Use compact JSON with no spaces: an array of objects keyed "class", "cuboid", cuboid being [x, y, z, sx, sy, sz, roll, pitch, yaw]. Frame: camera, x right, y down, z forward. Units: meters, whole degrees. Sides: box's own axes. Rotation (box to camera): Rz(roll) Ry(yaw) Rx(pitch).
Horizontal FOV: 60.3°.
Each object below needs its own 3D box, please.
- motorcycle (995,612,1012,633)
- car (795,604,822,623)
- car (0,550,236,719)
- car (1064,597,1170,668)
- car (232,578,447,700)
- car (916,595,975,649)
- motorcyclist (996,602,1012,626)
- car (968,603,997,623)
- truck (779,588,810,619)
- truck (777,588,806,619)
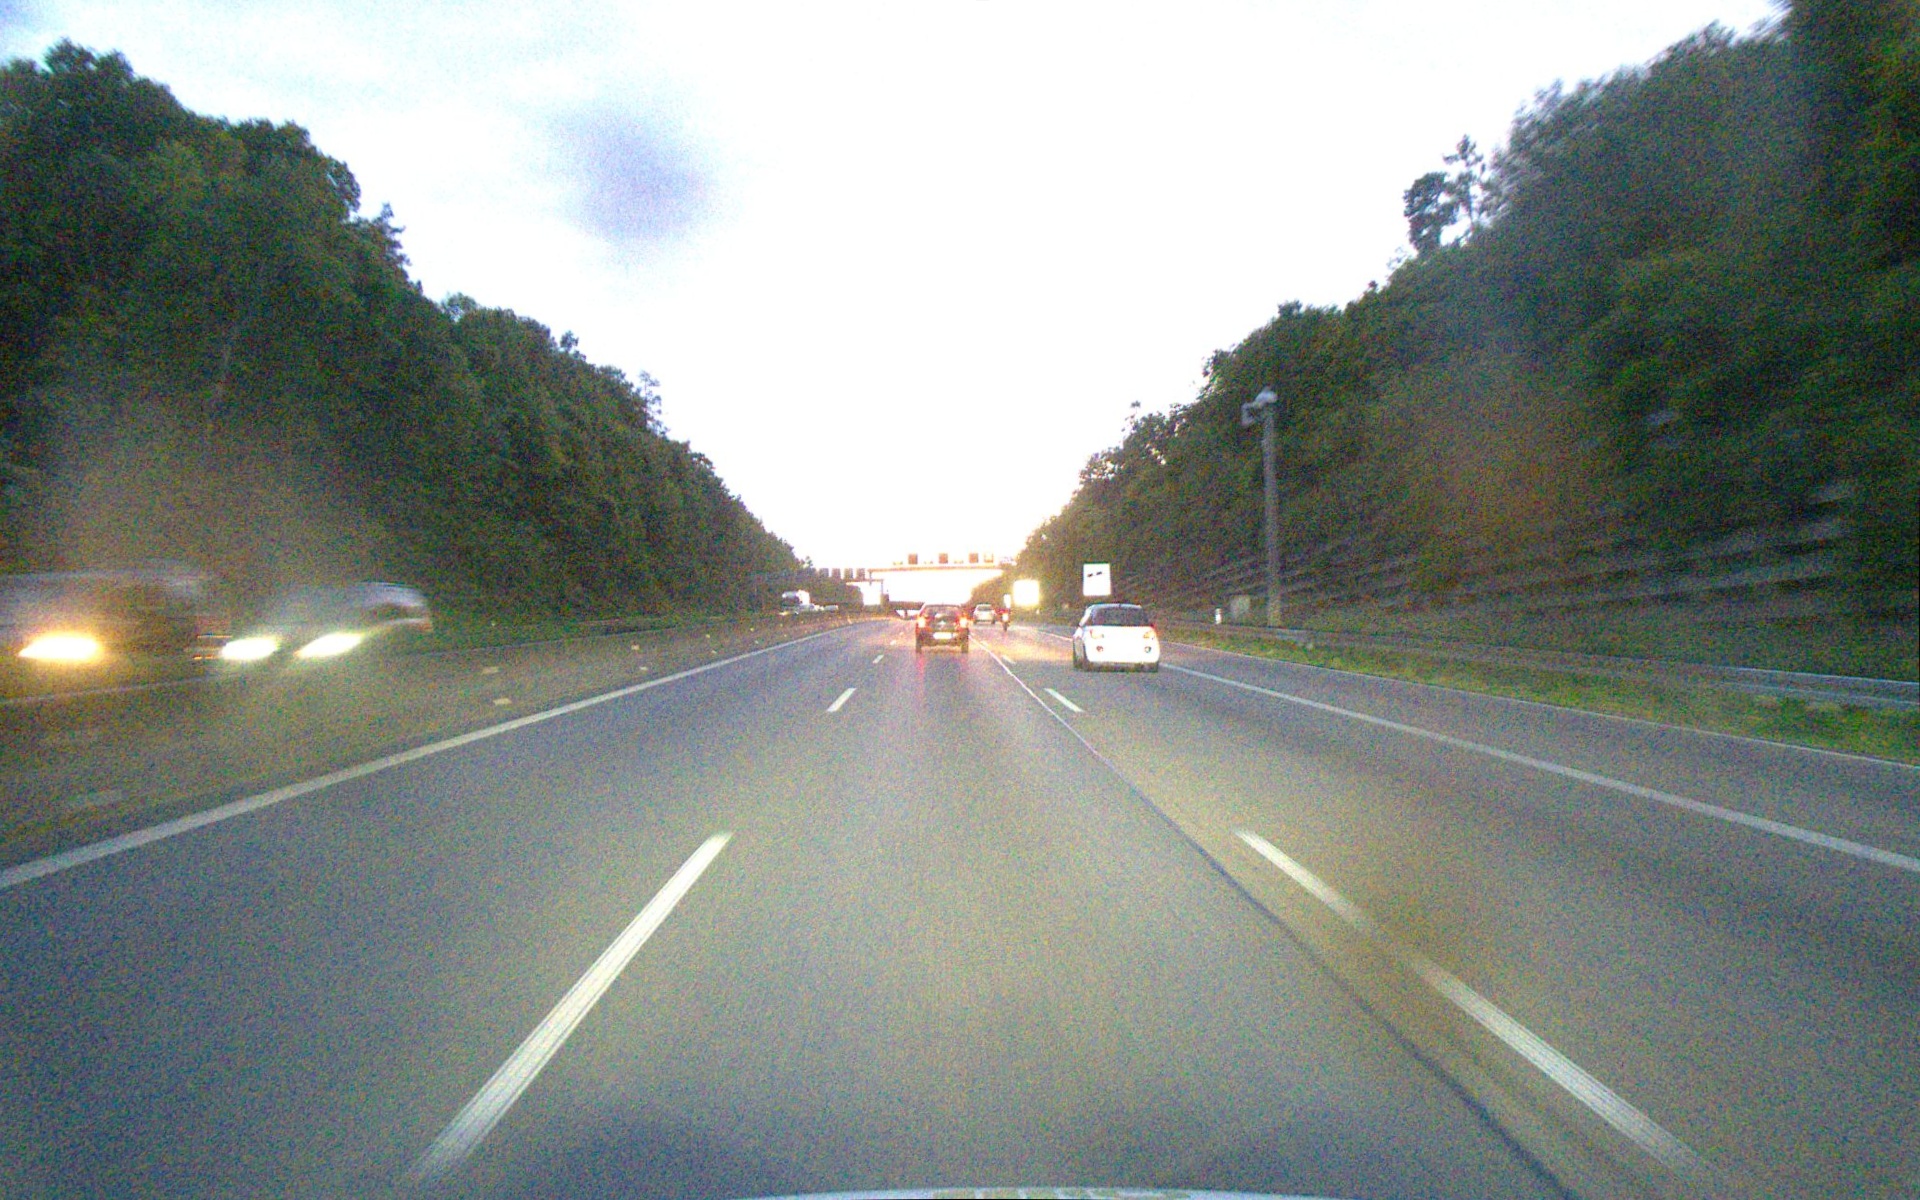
[{"class":"motorcycle","cuboid":[2.384,1.235,90.342,0.813,1.154,2.475,0,-1,-1]},{"class":"car","cuboid":[-13.044,1.152,142.932,1.878,1.641,5.158,-1,0,-1]},{"class":"car","cuboid":[-15.152,0.524,28.499,2.266,2.527,7.516,-1,0,-2]},{"class":"car","cuboid":[3.512,0.744,37.756,1.789,1.502,4.395,1,-1,-3]},{"class":"car","cuboid":[-11.410,0.660,30.883,1.953,2.049,5.359,-1,0,0]},{"class":"car","cuboid":[-0.447,0.695,49.996,1.669,1.536,4.230,1,-1,-1]},{"class":"motorcyclist","cuboid":[2.379,0.753,90.282,0.813,1.314,1.189,0,-1,-1]},{"class":"car","cuboid":[1.789,1.063,132.347,1.829,1.520,4.393,1,-1,-5]},{"class":"truck","cuboid":[-22.858,0.530,228.765,3.289,4.073,14.490,-1,0,-2]},{"class":"truck","cuboid":[-22.600,0.465,221.790,3.312,4.073,6.876,-1,0,-2]}]
